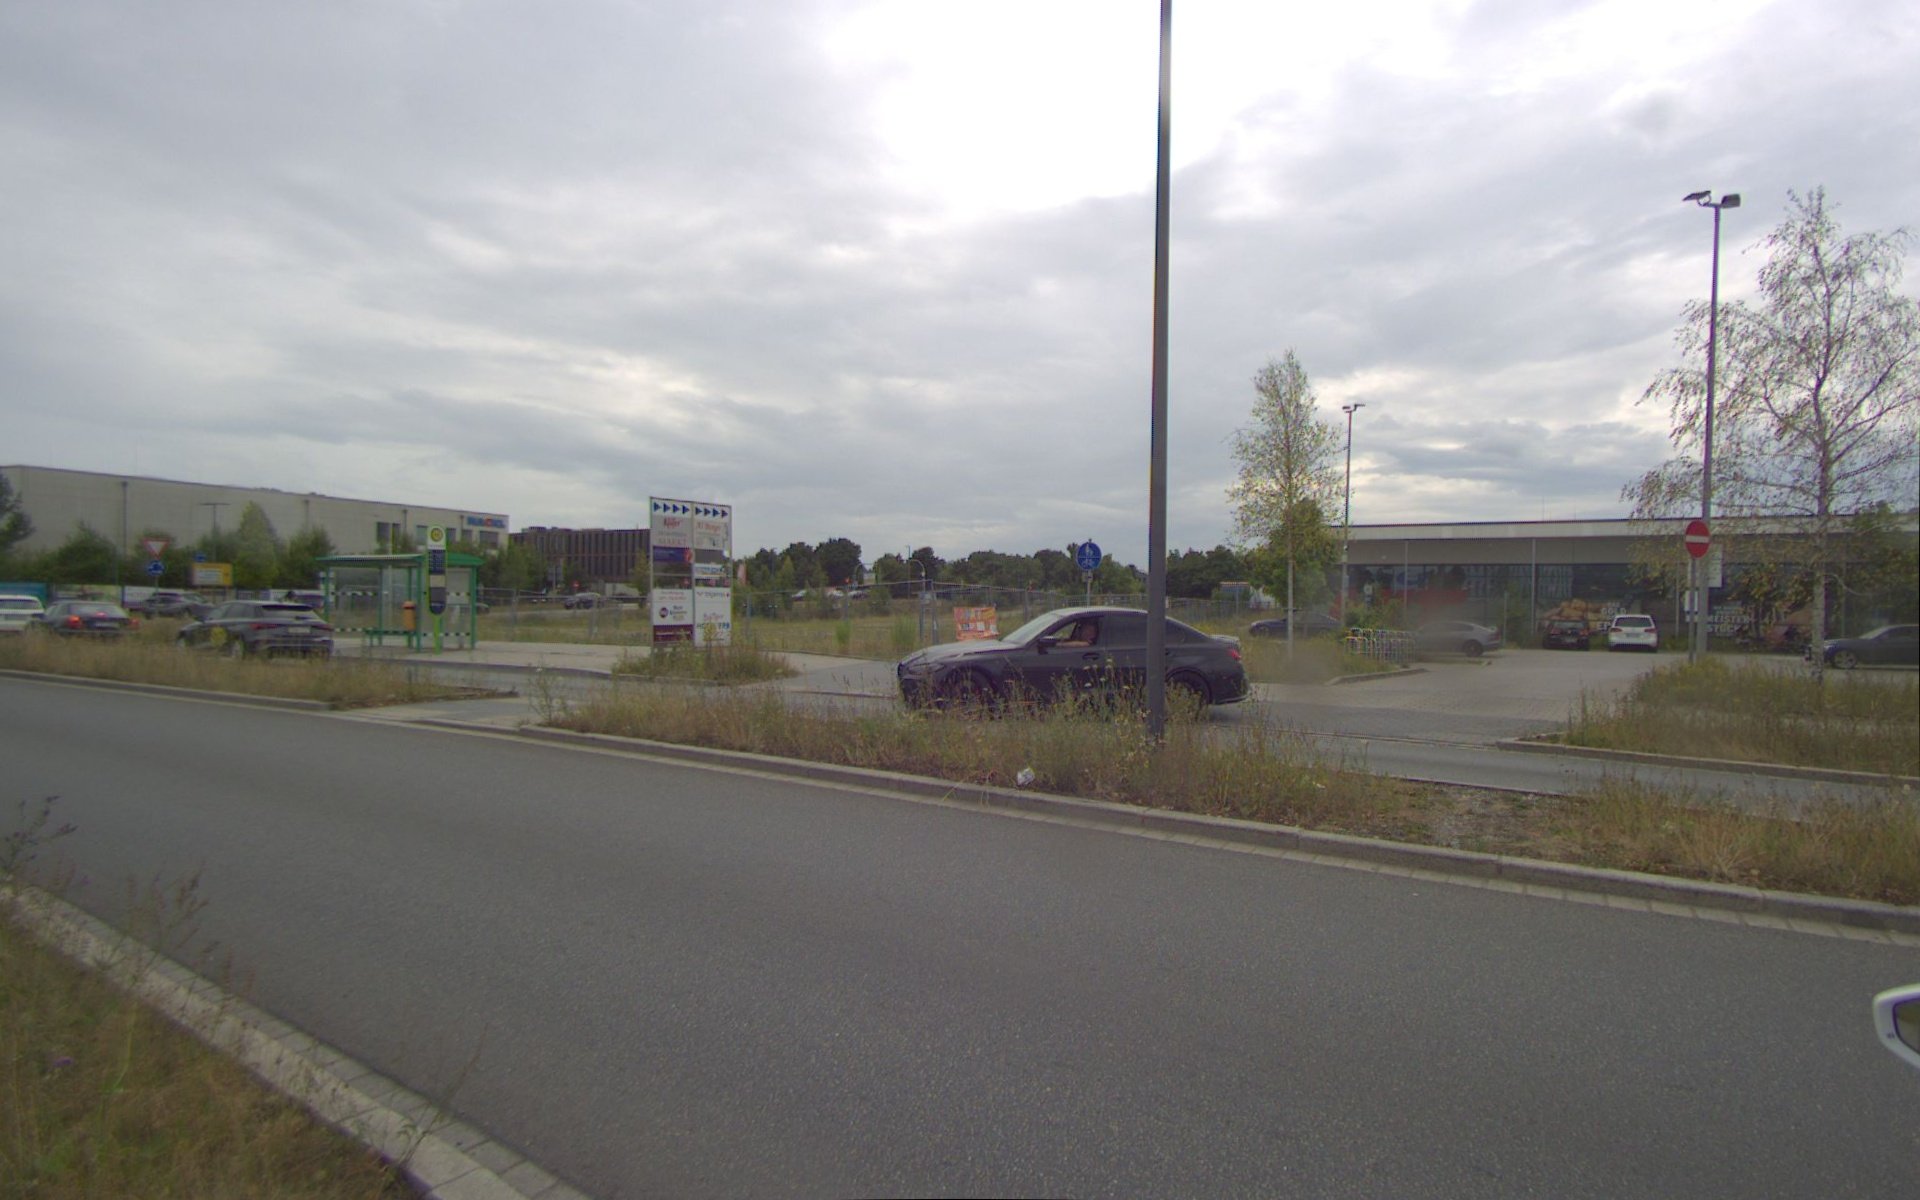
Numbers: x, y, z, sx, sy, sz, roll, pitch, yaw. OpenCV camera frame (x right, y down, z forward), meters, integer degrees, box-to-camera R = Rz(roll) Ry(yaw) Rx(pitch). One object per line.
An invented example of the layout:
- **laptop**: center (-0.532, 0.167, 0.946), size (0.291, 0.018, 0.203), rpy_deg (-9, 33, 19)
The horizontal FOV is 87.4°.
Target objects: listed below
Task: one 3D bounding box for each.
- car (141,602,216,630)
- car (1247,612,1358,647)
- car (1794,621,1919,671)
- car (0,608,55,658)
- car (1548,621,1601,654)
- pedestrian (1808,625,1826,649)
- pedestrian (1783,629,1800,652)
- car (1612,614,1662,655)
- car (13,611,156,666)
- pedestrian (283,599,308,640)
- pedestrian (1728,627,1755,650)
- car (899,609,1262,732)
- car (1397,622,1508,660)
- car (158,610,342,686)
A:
- **car**: center (-41.092, 0.826, 52.919), size (1.690, 1.361, 4.051), rpy_deg (1, 0, -16)
- **car**: center (17.020, 1.433, 49.978), size (4.934, 1.578, 1.997), rpy_deg (1, -1, 30)
- **car**: center (29.186, 1.466, 32.189), size (3.556, 1.473, 1.663), rpy_deg (1, 0, 33)
- **car**: center (-31.681, 1.042, 33.008), size (3.983, 1.500, 1.755), rpy_deg (1, -1, 30)
- **car**: center (29.372, 1.766, 47.940), size (1.881, 1.463, 3.986), rpy_deg (0, -1, 36)
- **pedestrian**: center (41.936, 1.820, 49.170), size (0.567, 1.139, 0.561), rpy_deg (0, 0, 30)
- **pedestrian**: center (41.701, 2.032, 50.364), size (0.567, 1.139, 0.561), rpy_deg (0, 0, 30)
- **car**: center (31.451, 1.566, 46.623), size (1.800, 1.723, 4.219), rpy_deg (0, 0, 36)
- **car**: center (-25.190, 1.083, 28.884), size (4.293, 1.414, 1.788), rpy_deg (0, -1, 30)
- **pedestrian**: center (-28.311, 0.827, 42.783), size (0.733, 1.745, 0.647), rpy_deg (1, 0, -24)
- **pedestrian**: center (40.328, 1.979, 51.858), size (0.957, 1.170, 1.130), rpy_deg (1, 0, 32)
- **car**: center (1.533, 0.863, 13.458), size (4.528, 1.465, 1.782), rpy_deg (0, 0, -11)
- **car**: center (20.120, 1.648, 41.064), size (3.930, 1.370, 1.996), rpy_deg (1, -1, 31)
- **car**: center (-16.063, 1.016, 22.698), size (4.243, 1.486, 1.794), rpy_deg (1, 0, 30)
